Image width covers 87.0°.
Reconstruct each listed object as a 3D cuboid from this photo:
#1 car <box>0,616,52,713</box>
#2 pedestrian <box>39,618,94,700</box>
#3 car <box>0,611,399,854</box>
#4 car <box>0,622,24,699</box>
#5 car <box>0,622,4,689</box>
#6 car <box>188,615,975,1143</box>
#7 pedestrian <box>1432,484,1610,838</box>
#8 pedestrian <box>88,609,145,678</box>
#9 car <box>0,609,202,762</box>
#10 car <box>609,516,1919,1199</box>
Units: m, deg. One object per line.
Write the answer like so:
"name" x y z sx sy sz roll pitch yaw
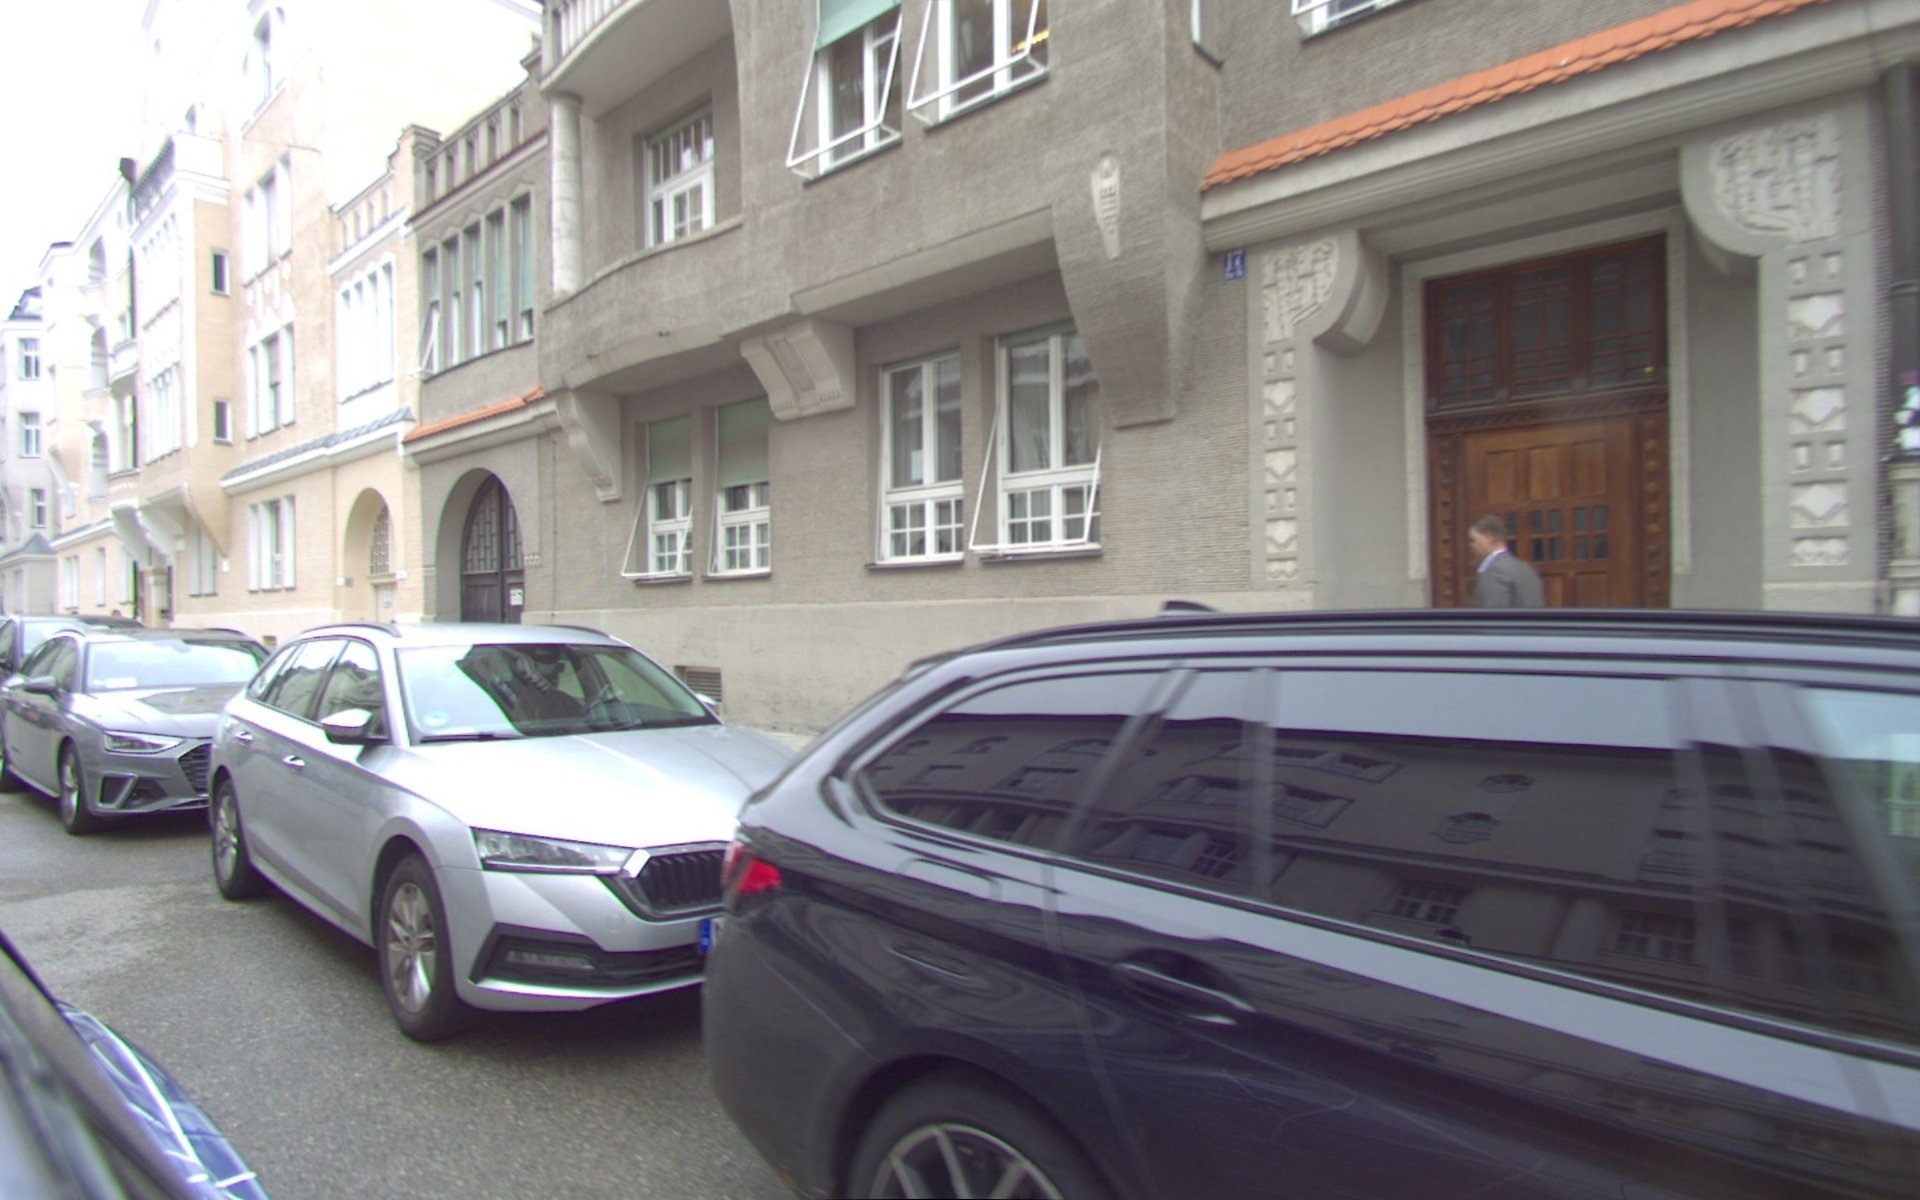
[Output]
"car" -18.432 1.167 18.883 4.619 1.671 1.929 -1 0 44
"pedestrian" -20.406 1.319 23.115 0.740 1.803 0.826 -2 0 40
"car" -6.716 0.898 8.516 4.601 1.525 1.820 -2 -2 38
"car" -22.450 1.346 22.671 4.099 1.655 1.714 -1 0 41
"car" -26.095 1.437 25.942 4.457 1.661 1.853 -1 0 41
"car" -2.170 0.831 4.955 4.438 1.442 1.786 -2 -2 42
"pedestrian" 3.193 0.318 5.754 0.730 1.831 0.709 -2 0 40
"pedestrian" -21.990 1.108 26.376 0.939 1.742 0.982 -2 0 40
"car" -11.155 0.951 12.584 3.807 1.584 1.786 -1 0 37
"car" 1.664 0.650 1.541 4.774 1.459 1.974 -1 -1 39
